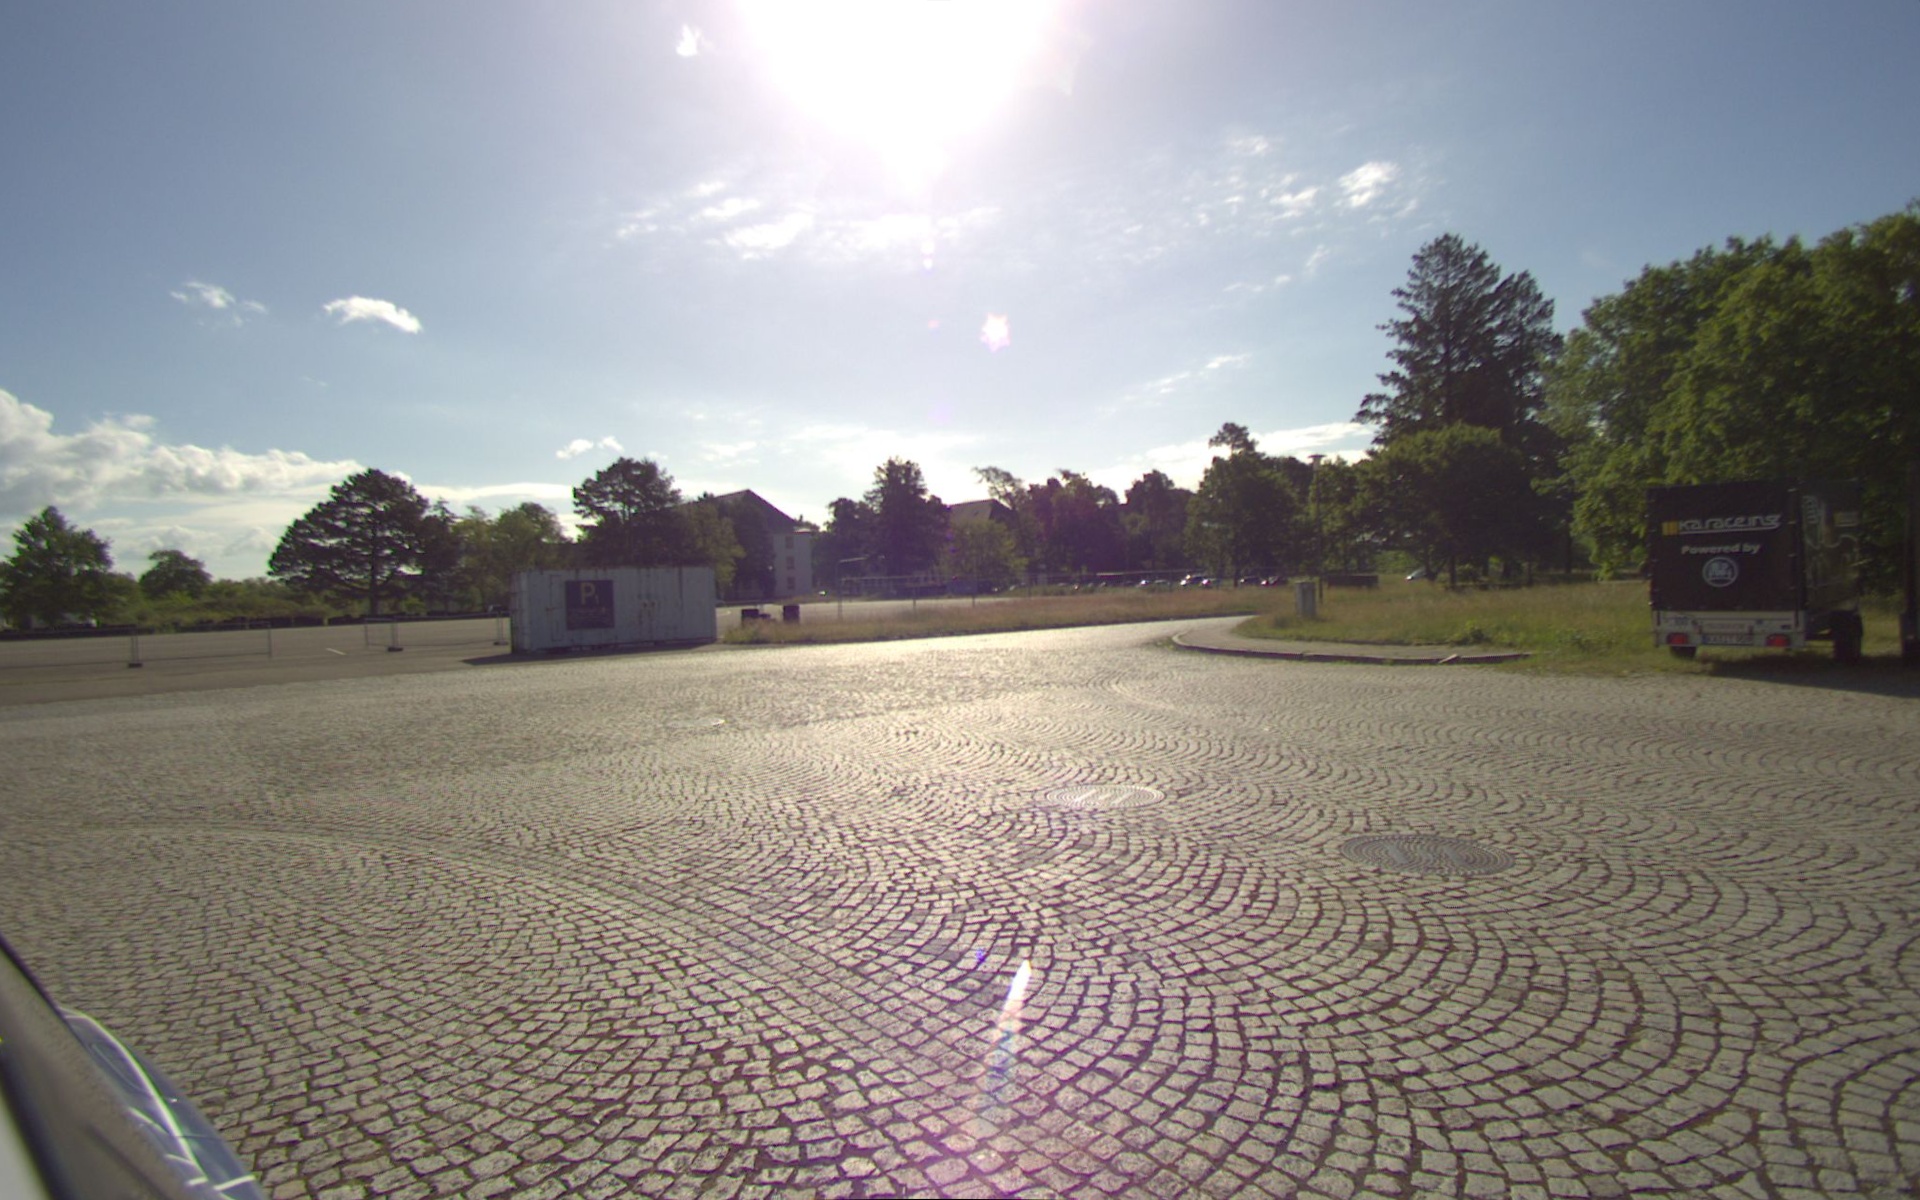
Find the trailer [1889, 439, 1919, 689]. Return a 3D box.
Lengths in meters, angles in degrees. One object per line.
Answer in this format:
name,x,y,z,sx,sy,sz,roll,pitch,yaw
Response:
trailer,12.121,-0.482,11.458,4.581,2.587,1.954,-3,1,-43

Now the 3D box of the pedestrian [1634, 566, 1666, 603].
pedestrian,37.951,-0.848,55.666,1.109,1.943,1.163,-3,1,-37

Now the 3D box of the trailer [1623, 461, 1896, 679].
trailer,10.618,-0.411,13.398,3.341,2.488,2.048,-3,1,-38

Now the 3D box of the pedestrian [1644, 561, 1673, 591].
pedestrian,46.323,-1.578,67.107,1.302,1.943,1.163,-3,1,-37
